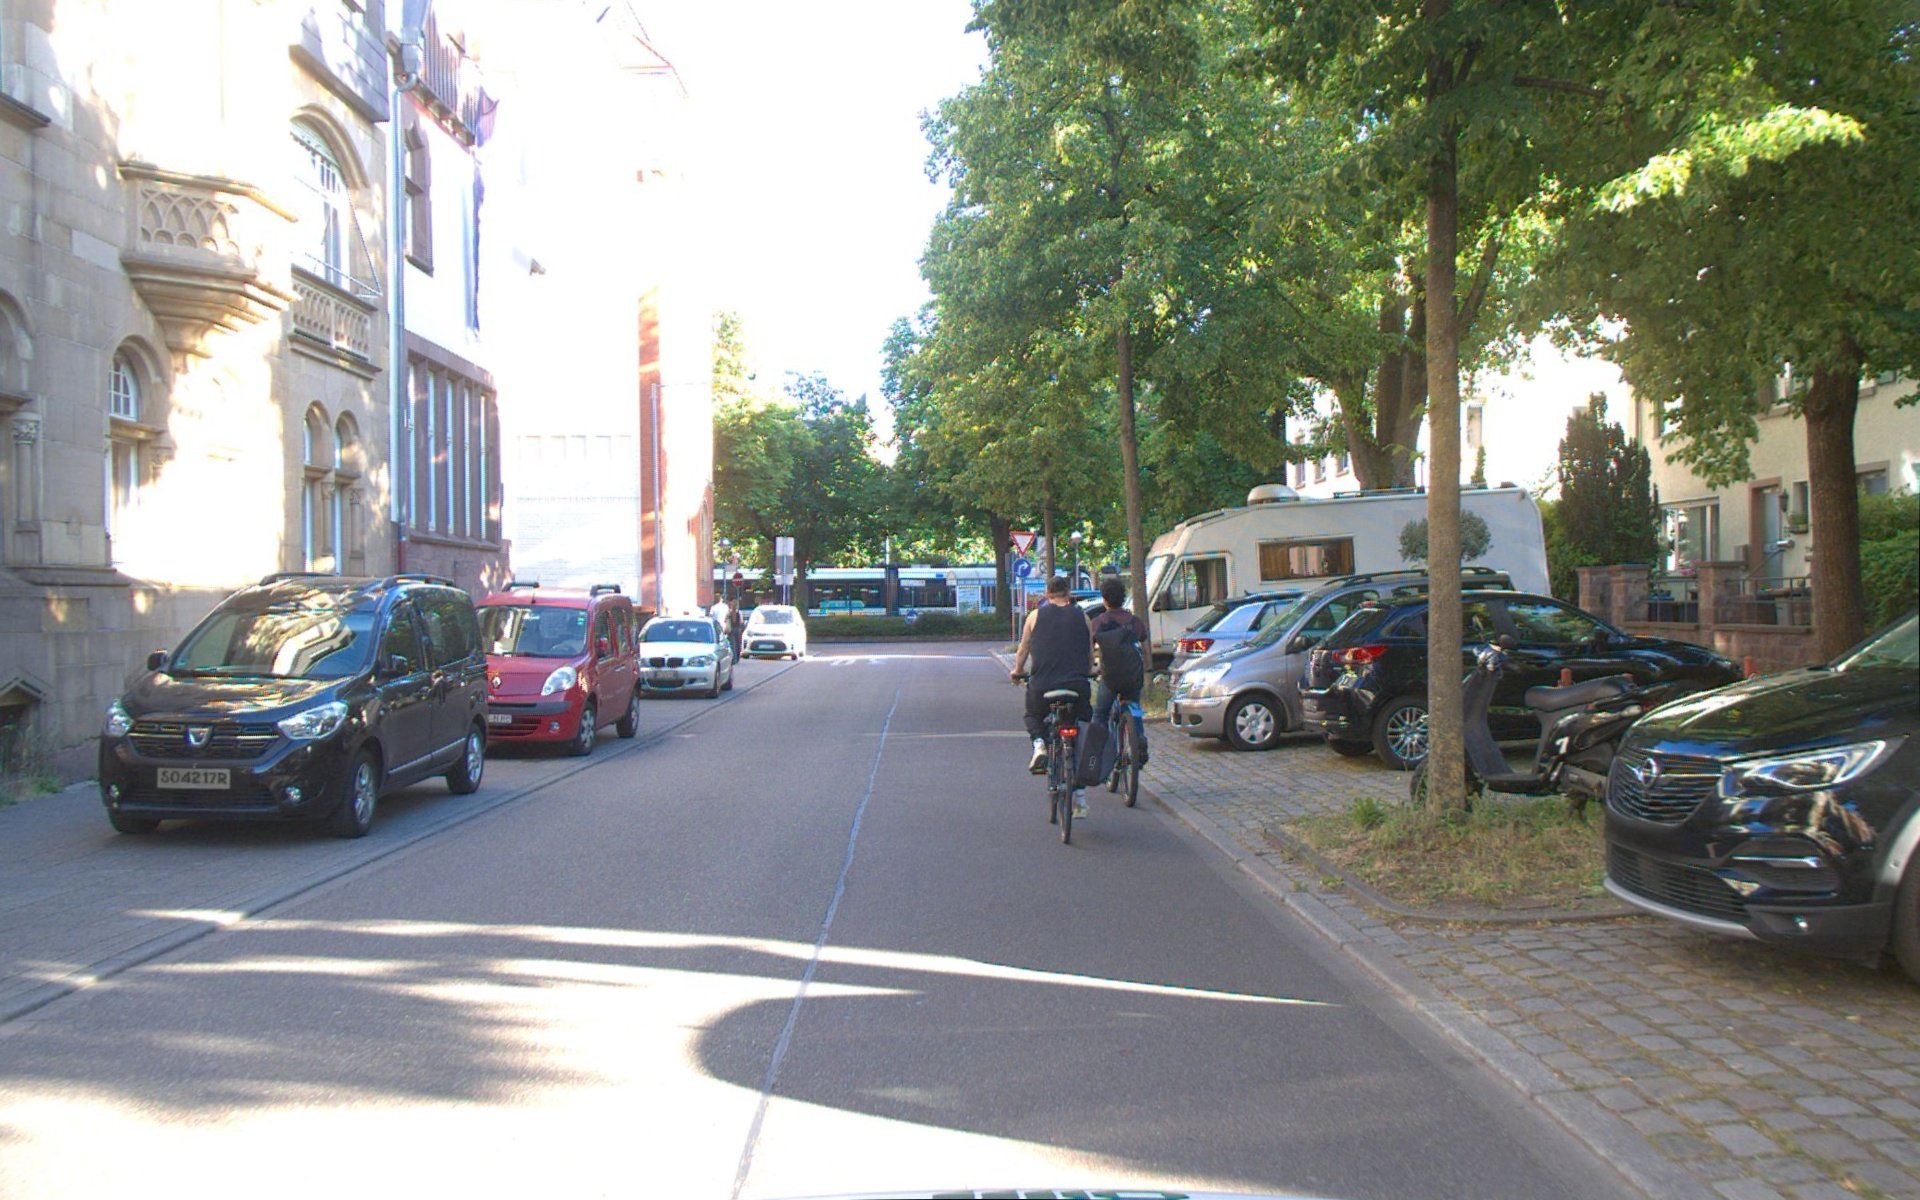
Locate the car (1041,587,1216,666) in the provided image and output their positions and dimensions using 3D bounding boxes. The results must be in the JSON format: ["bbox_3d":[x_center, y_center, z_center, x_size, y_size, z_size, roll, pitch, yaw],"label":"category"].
[{"bbox_3d":[3.961,0.632,39.299,3.908,1.835,1.833,0,-1,-3],"label":"car"}]

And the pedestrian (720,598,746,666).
[{"bbox_3d":[-5.816,0.819,42.328,0.596,1.708,0.518,0,-1,-1],"label":"pedestrian"}]

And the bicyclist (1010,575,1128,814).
[{"bbox_3d":[0.736,0.632,11.405,0.715,1.575,0.884,1,-1,-2],"label":"bicyclist"}]

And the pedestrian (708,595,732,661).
[{"bbox_3d":[-6.588,0.772,45.402,0.596,1.793,0.432,0,-1,-1],"label":"pedestrian"}]

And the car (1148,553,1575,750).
[{"bbox_3d":[4.163,0.519,17.507,4.002,1.678,1.640,-4,0,-3],"label":"car"}]

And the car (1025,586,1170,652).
[{"bbox_3d":[3.891,0.535,47.186,3.908,1.835,1.833,0,-1,-3],"label":"car"}]

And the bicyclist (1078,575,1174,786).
[{"bbox_3d":[1.343,0.634,13.511,0.675,1.655,0.998,0,0,-1],"label":"bicyclist"}]

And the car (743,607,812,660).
[{"bbox_3d":[-5.257,0.948,48.118,1.551,1.399,4.131,1,0,0],"label":"car"}]

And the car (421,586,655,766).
[{"bbox_3d":[-4.817,0.779,19.473,1.654,1.857,4.272,1,0,0],"label":"car"}]

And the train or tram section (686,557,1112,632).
[{"bbox_3d":[-2.969,-0.177,90.551,23.486,3.773,4.254,0,-1,-24],"label":"train or tram section"}]

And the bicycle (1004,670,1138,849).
[{"bbox_3d":[0.730,1.047,11.437,0.722,1.072,1.955,1,-1,-2],"label":"bicycle"}]

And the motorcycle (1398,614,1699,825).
[{"bbox_3d":[3.530,0.691,9.959,1.574,1.161,0.671,-2,0,32],"label":"motorcycle"}]

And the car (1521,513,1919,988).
[{"bbox_3d":[4.578,0.496,6.609,4.054,1.628,1.702,-2,-2,0],"label":"car"}]

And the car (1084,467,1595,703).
[{"bbox_3d":[5.586,-0.226,25.028,7.006,3.030,2.462,-3,0,-4],"label":"car"}]

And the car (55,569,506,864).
[{"bbox_3d":[-4.835,0.713,12.491,1.607,1.814,4.354,1,0,0],"label":"car"}]

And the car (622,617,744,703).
[{"bbox_3d":[-5.006,1.047,30.317,1.551,1.367,4.131,1,0,0],"label":"car"}]

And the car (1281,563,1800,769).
[{"bbox_3d":[5.136,0.580,14.965,4.057,1.628,1.701,-2,-2,-4],"label":"car"}]

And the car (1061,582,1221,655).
[{"bbox_3d":[4.663,0.483,43.069,3.908,1.835,1.833,0,-1,-3],"label":"car"}]

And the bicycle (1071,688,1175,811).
[{"bbox_3d":[1.300,1.186,13.485,0.620,0.813,1.832,-2,0,-1],"label":"bicycle"}]
